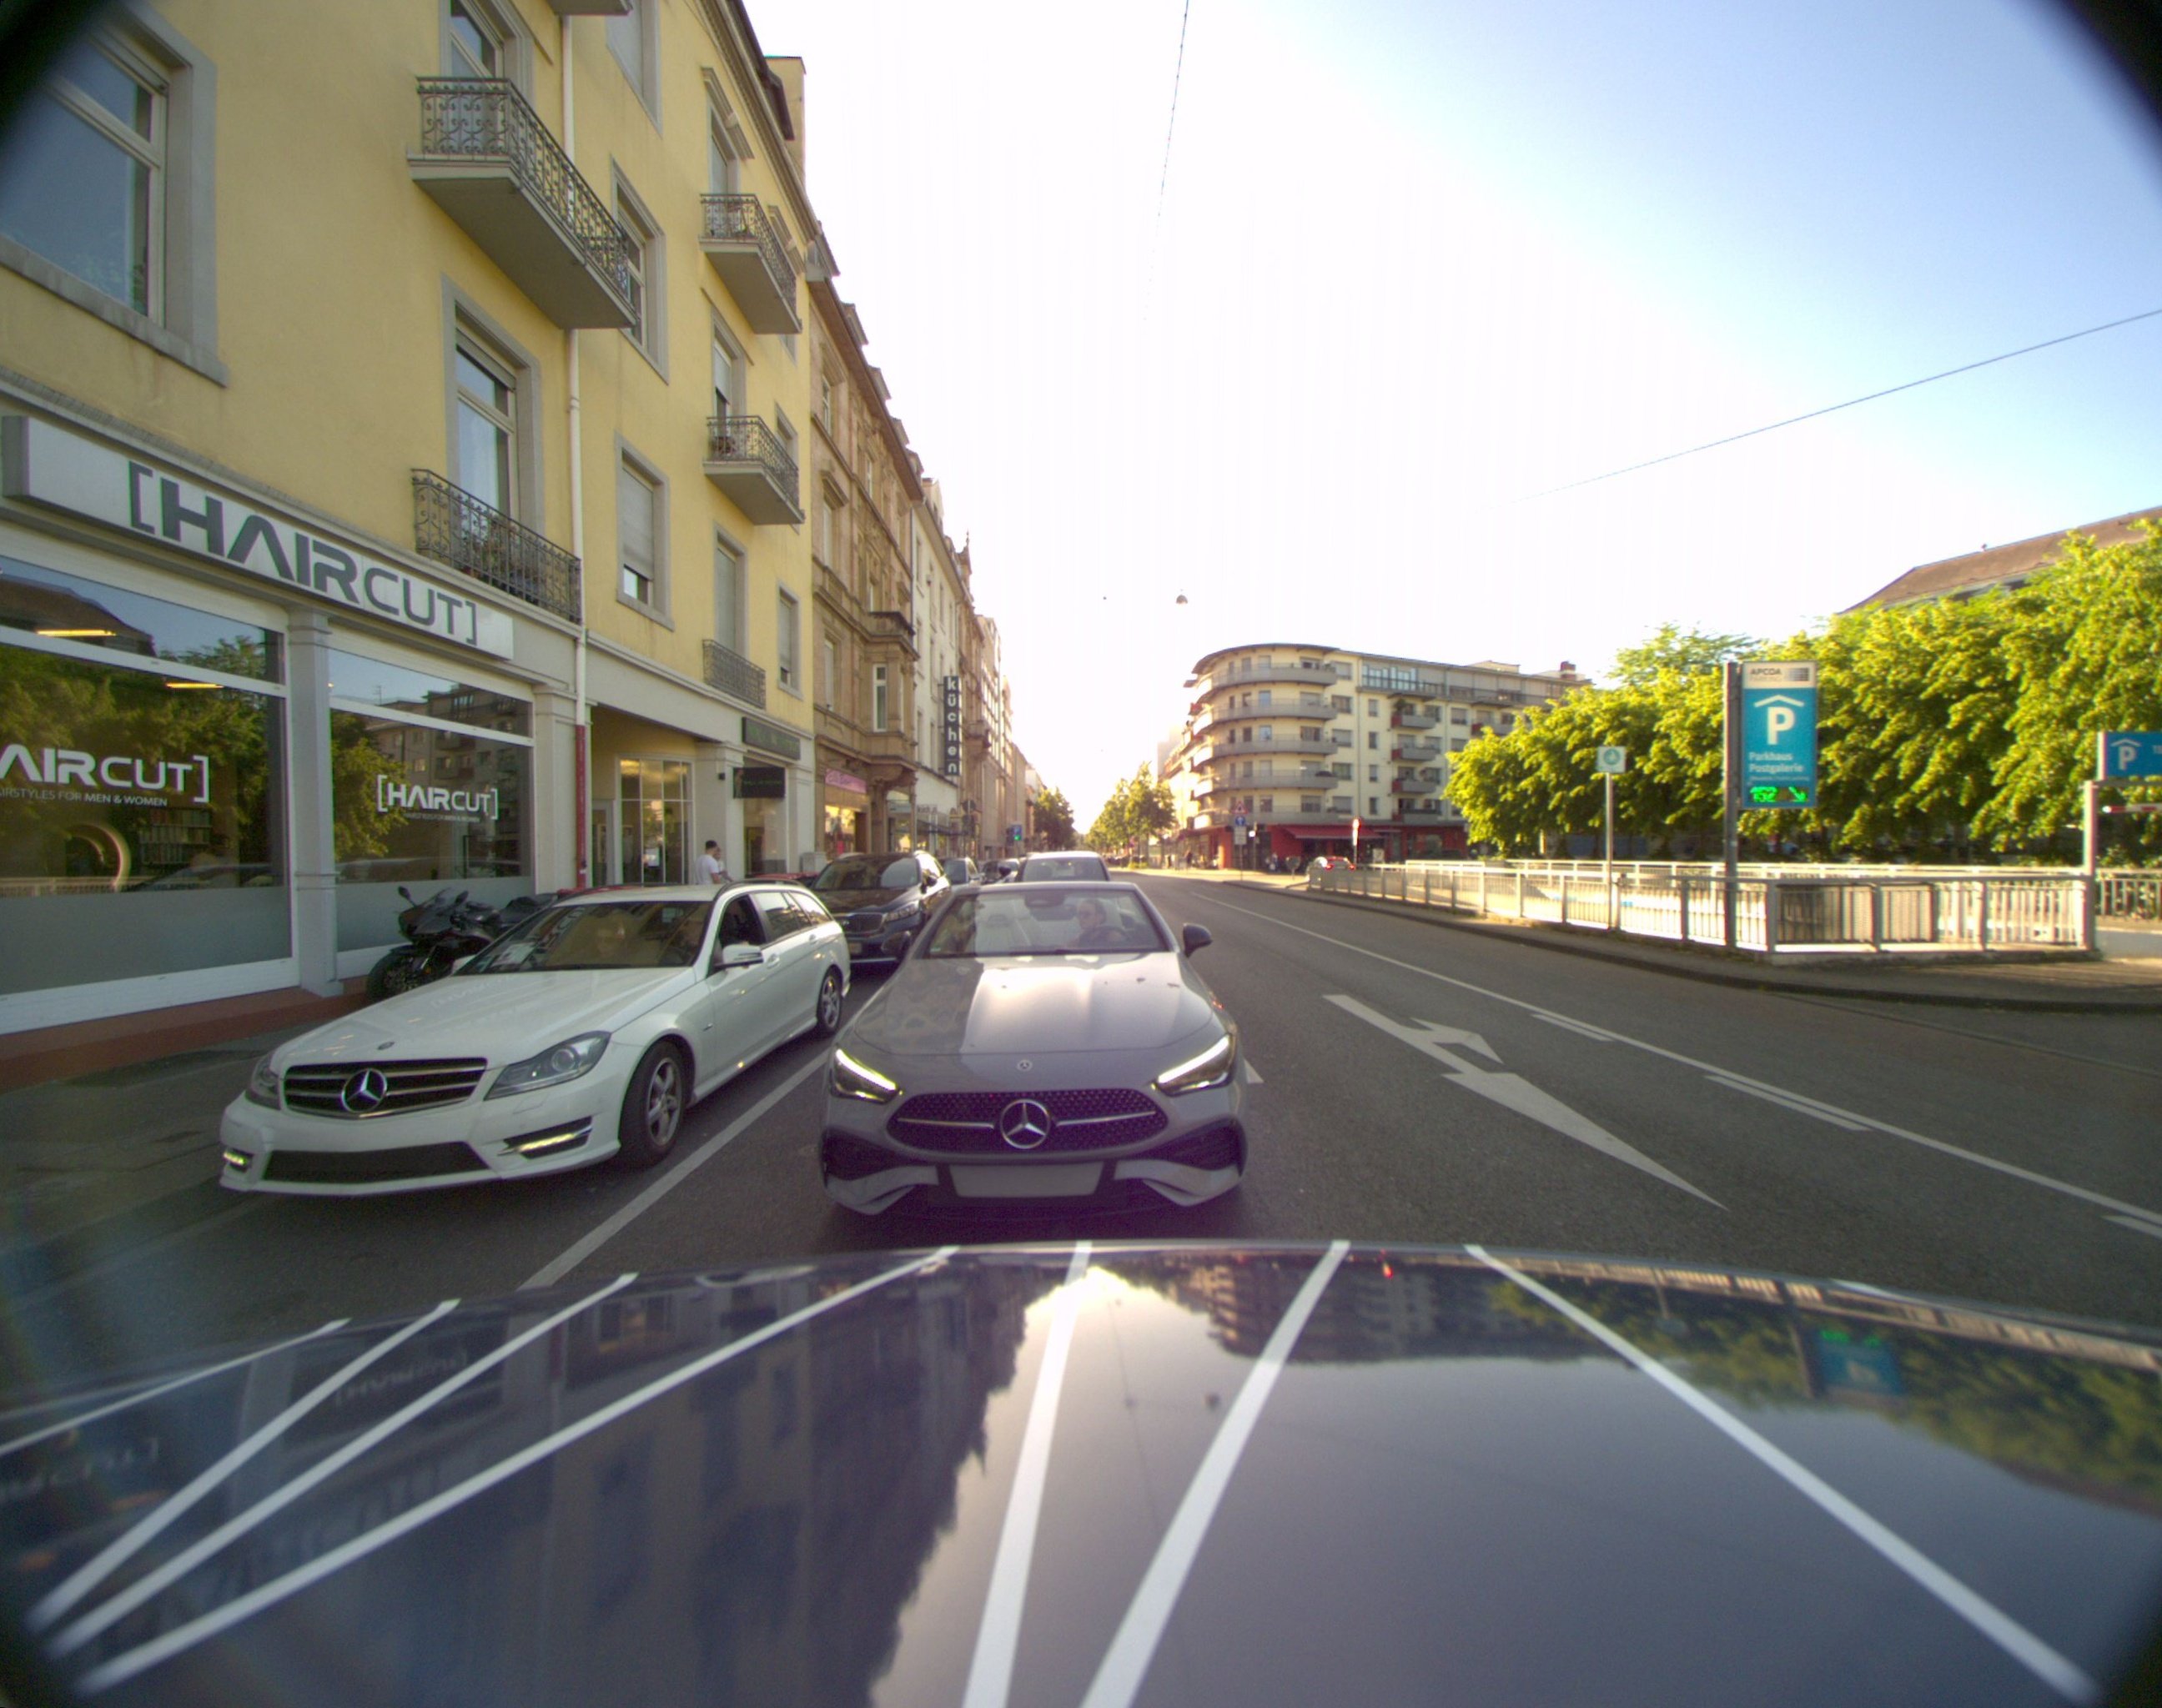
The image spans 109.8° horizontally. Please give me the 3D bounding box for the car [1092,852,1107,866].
[{"bbox_3d":[2.629,0.690,106.009,1.836,1.831,3.886,1,1,-2],"label":"car"}]

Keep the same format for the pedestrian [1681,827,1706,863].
[{"bbox_3d":[31.824,-0.449,39.472,0.748,1.832,0.683,-3,1,-21],"label":"pedestrian"}]

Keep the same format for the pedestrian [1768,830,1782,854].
[{"bbox_3d":[46.304,-0.788,50.698,0.494,1.570,0.493,-3,1,-24],"label":"pedestrian"}]

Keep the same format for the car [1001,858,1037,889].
[{"bbox_3d":[-2.946,0.898,36.682,1.461,1.310,3.363,-2,1,-1],"label":"car"}]

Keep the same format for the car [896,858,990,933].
[{"bbox_3d":[-3.173,0.904,17.990,1.583,1.514,2.998,-2,1,1],"label":"car"}]

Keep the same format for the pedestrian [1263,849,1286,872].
[{"bbox_3d":[14.897,0.503,58.397,1.269,1.656,1.142,-1,1,43],"label":"pedestrian"}]

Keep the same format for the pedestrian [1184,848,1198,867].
[{"bbox_3d":[10.009,0.308,69.155,1.060,1.739,0.962,-2,1,1],"label":"pedestrian"}]

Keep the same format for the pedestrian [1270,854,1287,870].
[{"bbox_3d":[15.437,0.651,59.382,0.937,1.191,0.832,-3,1,-24],"label":"pedestrian"}]

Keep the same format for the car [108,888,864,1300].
[{"bbox_3d":[-3.017,1.071,5.248,1.672,1.364,4.377,-2,1,1],"label":"car"}]

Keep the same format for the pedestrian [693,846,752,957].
[{"bbox_3d":[-6.140,0.793,13.061,0.630,1.826,0.770,-2,1,-7],"label":"pedestrian"}]

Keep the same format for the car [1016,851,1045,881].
[{"bbox_3d":[-3.144,0.714,47.549,1.695,1.670,3.880,-2,1,-3],"label":"car"}]

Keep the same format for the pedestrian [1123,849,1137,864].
[{"bbox_3d":[6.075,0.267,95.056,1.200,1.826,1.225,-1,1,40],"label":"pedestrian"}]

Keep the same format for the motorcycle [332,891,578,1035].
[{"bbox_3d":[-6.253,1.022,7.790,0.735,1.124,2.109,2,1,1],"label":"motorcycle"}]

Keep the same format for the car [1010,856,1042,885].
[{"bbox_3d":[-2.933,0.864,40.951,1.461,1.391,3.363,-2,1,-1],"label":"car"}]

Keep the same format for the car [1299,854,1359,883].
[{"bbox_3d":[14.355,0.818,44.262,1.677,1.521,4.247,1,0,-6],"label":"car"}]

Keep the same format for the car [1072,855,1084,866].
[{"bbox_3d":[-0.546,0.990,117.780,1.695,1.437,3.575,-2,1,-2],"label":"car"}]

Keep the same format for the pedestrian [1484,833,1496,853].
[{"bbox_3d":[38.372,-1.004,71.236,0.747,1.832,0.684,-2,1,1],"label":"pedestrian"}]

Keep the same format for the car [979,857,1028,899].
[{"bbox_3d":[-3.018,0.901,30.313,1.695,1.482,3.796,-2,1,-3],"label":"car"}]

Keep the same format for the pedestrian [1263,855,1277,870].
[{"bbox_3d":[14.931,0.663,60.040,0.780,1.191,0.884,-2,1,-10],"label":"pedestrian"}]

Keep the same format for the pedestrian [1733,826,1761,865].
[{"bbox_3d":[32.197,-0.393,36.753,0.748,1.852,0.683,-2,1,-13],"label":"pedestrian"}]

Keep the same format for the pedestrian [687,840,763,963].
[{"bbox_3d":[-5.690,0.728,12.149,0.975,1.866,0.534,-3,1,-31],"label":"pedestrian"}]

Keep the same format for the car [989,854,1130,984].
[{"bbox_3d":[-0.356,0.892,12.759,1.866,1.658,4.706,-2,1,-2],"label":"car"}]

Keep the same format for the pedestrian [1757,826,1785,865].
[{"bbox_3d":[33.258,-0.423,36.643,0.748,1.832,0.683,-2,1,-13],"label":"pedestrian"}]

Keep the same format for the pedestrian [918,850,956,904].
[{"bbox_3d":[-4.674,0.734,24.693,0.818,1.709,0.838,-2,1,19],"label":"pedestrian"}]

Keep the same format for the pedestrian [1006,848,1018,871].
[{"bbox_3d":[-5.407,0.423,59.622,0.826,1.750,0.823,-2,1,-1],"label":"pedestrian"}]

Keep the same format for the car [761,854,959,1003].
[{"bbox_3d":[-3.004,0.888,11.339,1.806,1.680,4.408,-2,1,-3],"label":"car"}]

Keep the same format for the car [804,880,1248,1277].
[{"bbox_3d":[-0.272,0.996,5.359,1.769,1.360,4.471,-2,1,-2],"label":"car"}]

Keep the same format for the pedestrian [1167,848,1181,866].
[{"bbox_3d":[8.799,0.277,72.103,1.069,1.709,1.080,-2,1,-2],"label":"pedestrian"}]
